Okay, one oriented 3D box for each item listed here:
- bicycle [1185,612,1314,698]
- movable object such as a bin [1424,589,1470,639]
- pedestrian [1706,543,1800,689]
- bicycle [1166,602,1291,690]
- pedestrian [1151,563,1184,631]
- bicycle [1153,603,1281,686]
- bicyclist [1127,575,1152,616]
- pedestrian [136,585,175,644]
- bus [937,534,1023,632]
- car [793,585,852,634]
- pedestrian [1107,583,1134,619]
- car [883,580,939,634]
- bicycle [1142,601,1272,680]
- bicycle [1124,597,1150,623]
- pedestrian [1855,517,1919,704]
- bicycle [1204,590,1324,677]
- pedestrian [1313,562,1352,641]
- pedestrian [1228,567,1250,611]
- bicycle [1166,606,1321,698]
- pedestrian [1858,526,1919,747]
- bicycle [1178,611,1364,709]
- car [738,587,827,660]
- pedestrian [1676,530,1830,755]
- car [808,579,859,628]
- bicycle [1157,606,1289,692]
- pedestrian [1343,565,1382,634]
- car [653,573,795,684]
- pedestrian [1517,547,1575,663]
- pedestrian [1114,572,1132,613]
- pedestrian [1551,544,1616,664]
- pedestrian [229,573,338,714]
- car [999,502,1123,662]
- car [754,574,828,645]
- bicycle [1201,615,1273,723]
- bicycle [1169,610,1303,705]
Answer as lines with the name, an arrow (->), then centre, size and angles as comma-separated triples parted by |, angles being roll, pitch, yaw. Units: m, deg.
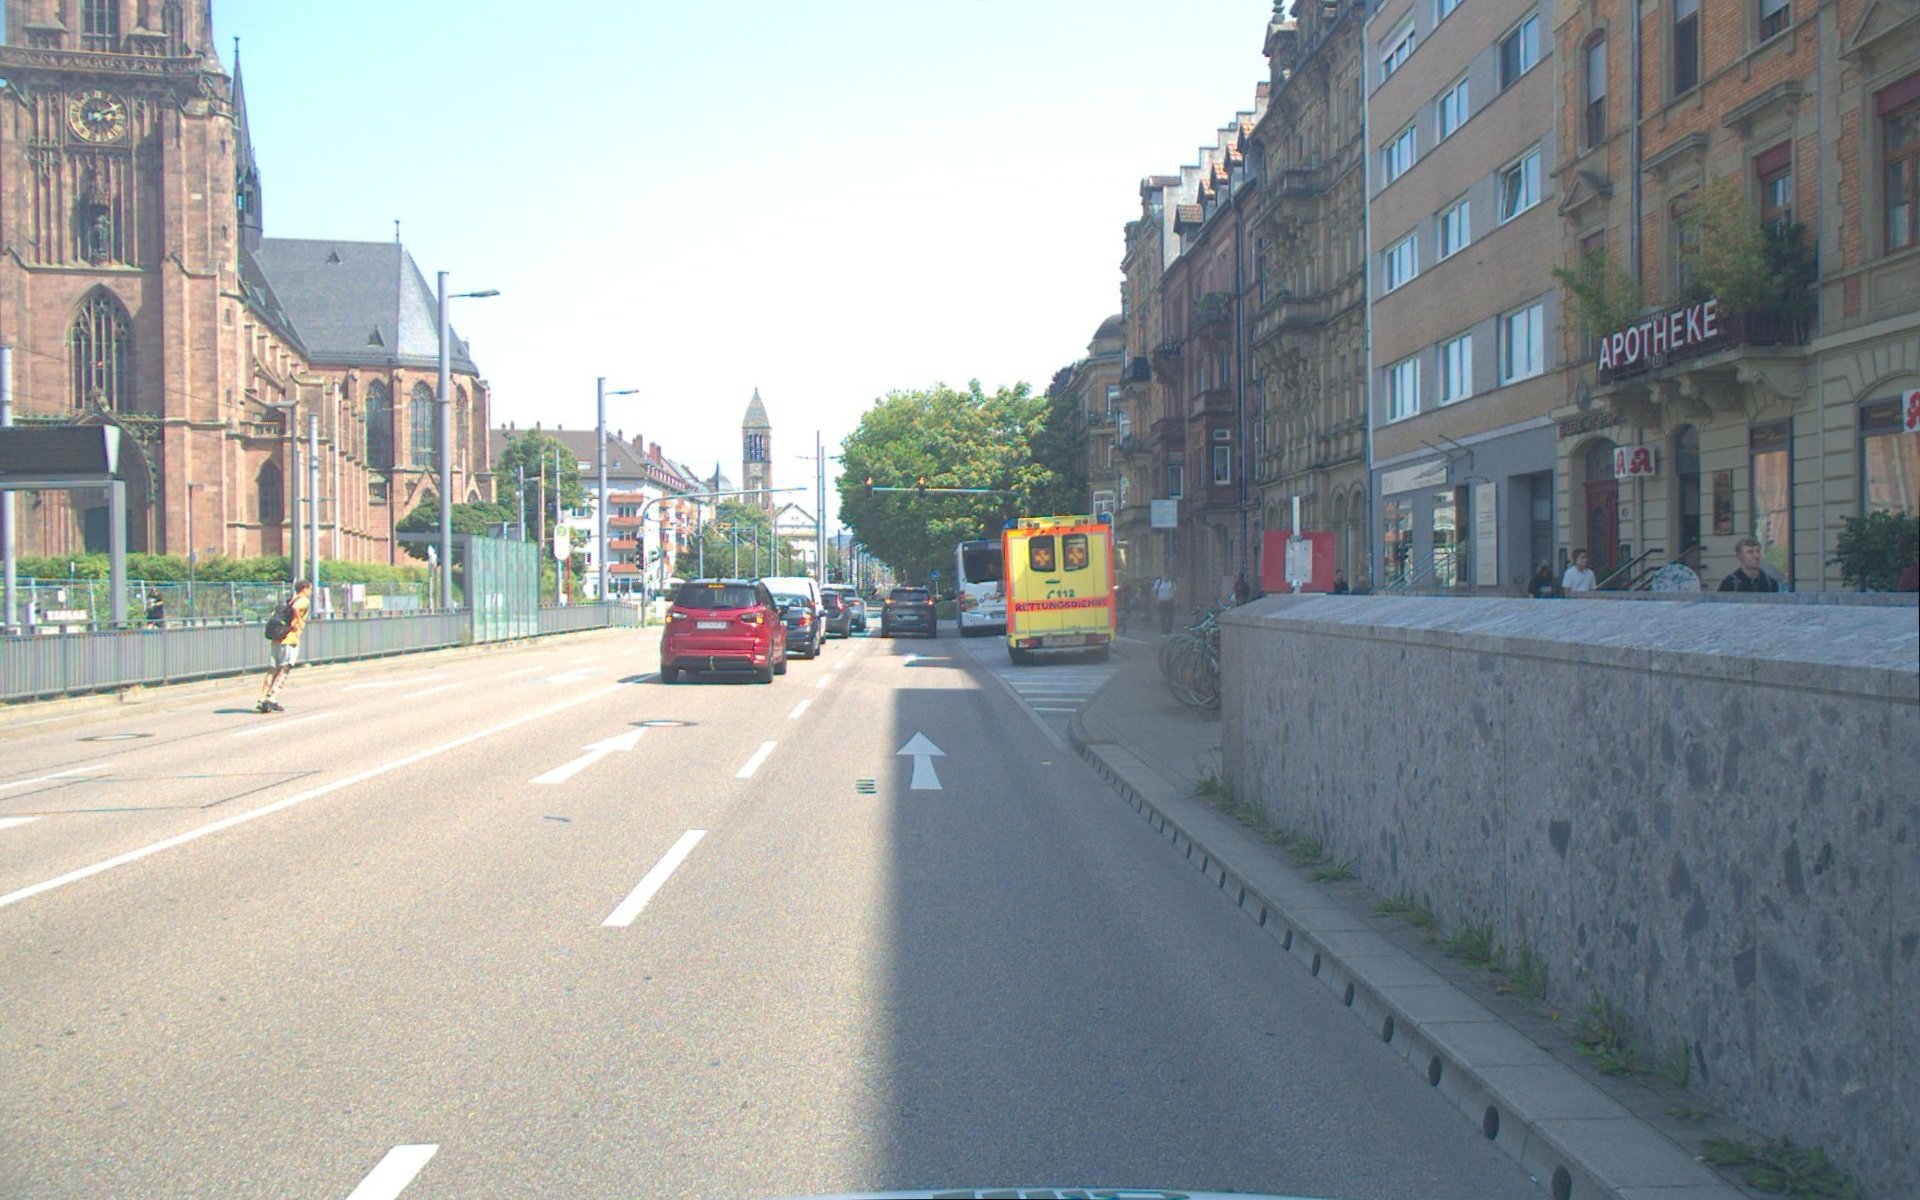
bicycle -> 3.540, 0.669, 20.263 | 1.506, 1.034, 0.365 | 0, 1, -2
movable object such as a bin -> 10.676, 0.293, 36.246 | 0.752, 1.066, 0.643 | -1, 1, 45
pedestrian -> 10.543, 0.202, 21.998 | 0.826, 1.878, 0.684 | -3, 1, -11
bicycle -> 3.414, 0.579, 21.064 | 1.506, 1.090, 0.472 | 0, 1, -2
pedestrian -> 5.258, -0.084, 41.966 | 0.683, 1.696, 0.602 | 0, 0, 24
bicycle -> 3.475, 0.601, 22.433 | 1.624, 1.090, 0.644 | 0, 0, -2
bicyclist -> 6.089, -0.156, 56.124 | 0.738, 1.345, 0.581 | -1, 0, -2
pedestrian -> -24.384, 0.437, 50.127 | 0.812, 1.782, 0.720 | -1, 0, -1
bus -> 0.554, -0.595, 58.793 | 2.483, 3.084, 12.432 | -1, 1, -2
car -> -4.366, 0.292, 52.996 | 1.754, 1.498, 3.997 | -1, 0, -3
pedestrian -> 8.278, 0.027, 85.315 | 1.224, 1.782, 1.526 | -1, 3, -1
car -> -1.641, 0.227, 54.355 | 1.754, 1.707, 3.997 | -1, 0, -3
bicycle -> 3.460, 0.560, 23.251 | 1.739, 1.090, 0.644 | 0, 0, 2
bicycle -> 6.025, 0.336, 56.308 | 0.577, 0.869, 1.774 | -1, 1, -3
pedestrian -> 9.537, 0.077, 16.475 | 0.670, 1.804, 1.017 | -1, 1, -2
bicycle -> 4.393, 0.483, 23.949 | 1.638, 1.237, 0.644 | 0, 0, 3
pedestrian -> 8.294, 0.030, 36.838 | 0.630, 1.714, 0.789 | -1, 0, -2
pedestrian -> 10.425, -0.400, 61.727 | 0.611, 1.621, 0.695 | -1, 0, -8
bicycle -> 3.404, 0.621, 19.895 | 1.798, 1.090, 0.365 | 0, 1, -2
pedestrian -> 7.353, 0.257, 12.244 | 0.843, 1.609, 0.959 | -1, 0, -35
bicycle -> 3.576, 0.683, 19.036 | 2.080, 1.090, 0.381 | 0, 1, -6
car -> -3.859, 0.471, 36.472 | 1.754, 1.456, 3.997 | -1, 1, -4
pedestrian -> 6.515, 0.321, 13.630 | 0.832, 1.759, 0.972 | -2, 2, 5
car -> -4.600, 0.124, 60.586 | 1.754, 1.728, 3.997 | -1, 0, -3
bicycle -> 3.433, 0.632, 21.663 | 1.624, 1.090, 0.644 | 0, 2, -2
pedestrian -> 8.966, -0.009, 36.845 | 0.630, 1.519, 0.789 | -1, 0, -2
car -> -3.774, 0.404, 27.091 | 1.726, 1.646, 4.082 | -1, 1, 0
pedestrian -> 9.227, 0.071, 26.058 | 0.565, 1.780, 0.679 | -3, 0, -2
pedestrian -> 6.760, -0.327, 68.647 | 0.682, 1.696, 0.603 | -1, 0, 0
pedestrian -> 9.841, 0.057, 26.123 | 0.587, 1.826, 0.879 | -3, 0, -2
pedestrian -> -8.780, 0.547, 21.500 | 0.747, 1.782, 1.067 | -1, 0, 30
car -> 2.008, -0.388, 34.091 | 2.251, 2.938, 5.601 | -2, 1, 2
car -> -4.520, 0.256, 44.673 | 1.754, 1.811, 3.997 | -1, 0, -3
bicycle -> 2.988, 0.722, 17.919 | 0.466, 1.089, 1.505 | -1, 0, -2
bicycle -> 3.244, 0.672, 19.460 | 1.506, 1.090, 0.365 | 0, 1, -2
